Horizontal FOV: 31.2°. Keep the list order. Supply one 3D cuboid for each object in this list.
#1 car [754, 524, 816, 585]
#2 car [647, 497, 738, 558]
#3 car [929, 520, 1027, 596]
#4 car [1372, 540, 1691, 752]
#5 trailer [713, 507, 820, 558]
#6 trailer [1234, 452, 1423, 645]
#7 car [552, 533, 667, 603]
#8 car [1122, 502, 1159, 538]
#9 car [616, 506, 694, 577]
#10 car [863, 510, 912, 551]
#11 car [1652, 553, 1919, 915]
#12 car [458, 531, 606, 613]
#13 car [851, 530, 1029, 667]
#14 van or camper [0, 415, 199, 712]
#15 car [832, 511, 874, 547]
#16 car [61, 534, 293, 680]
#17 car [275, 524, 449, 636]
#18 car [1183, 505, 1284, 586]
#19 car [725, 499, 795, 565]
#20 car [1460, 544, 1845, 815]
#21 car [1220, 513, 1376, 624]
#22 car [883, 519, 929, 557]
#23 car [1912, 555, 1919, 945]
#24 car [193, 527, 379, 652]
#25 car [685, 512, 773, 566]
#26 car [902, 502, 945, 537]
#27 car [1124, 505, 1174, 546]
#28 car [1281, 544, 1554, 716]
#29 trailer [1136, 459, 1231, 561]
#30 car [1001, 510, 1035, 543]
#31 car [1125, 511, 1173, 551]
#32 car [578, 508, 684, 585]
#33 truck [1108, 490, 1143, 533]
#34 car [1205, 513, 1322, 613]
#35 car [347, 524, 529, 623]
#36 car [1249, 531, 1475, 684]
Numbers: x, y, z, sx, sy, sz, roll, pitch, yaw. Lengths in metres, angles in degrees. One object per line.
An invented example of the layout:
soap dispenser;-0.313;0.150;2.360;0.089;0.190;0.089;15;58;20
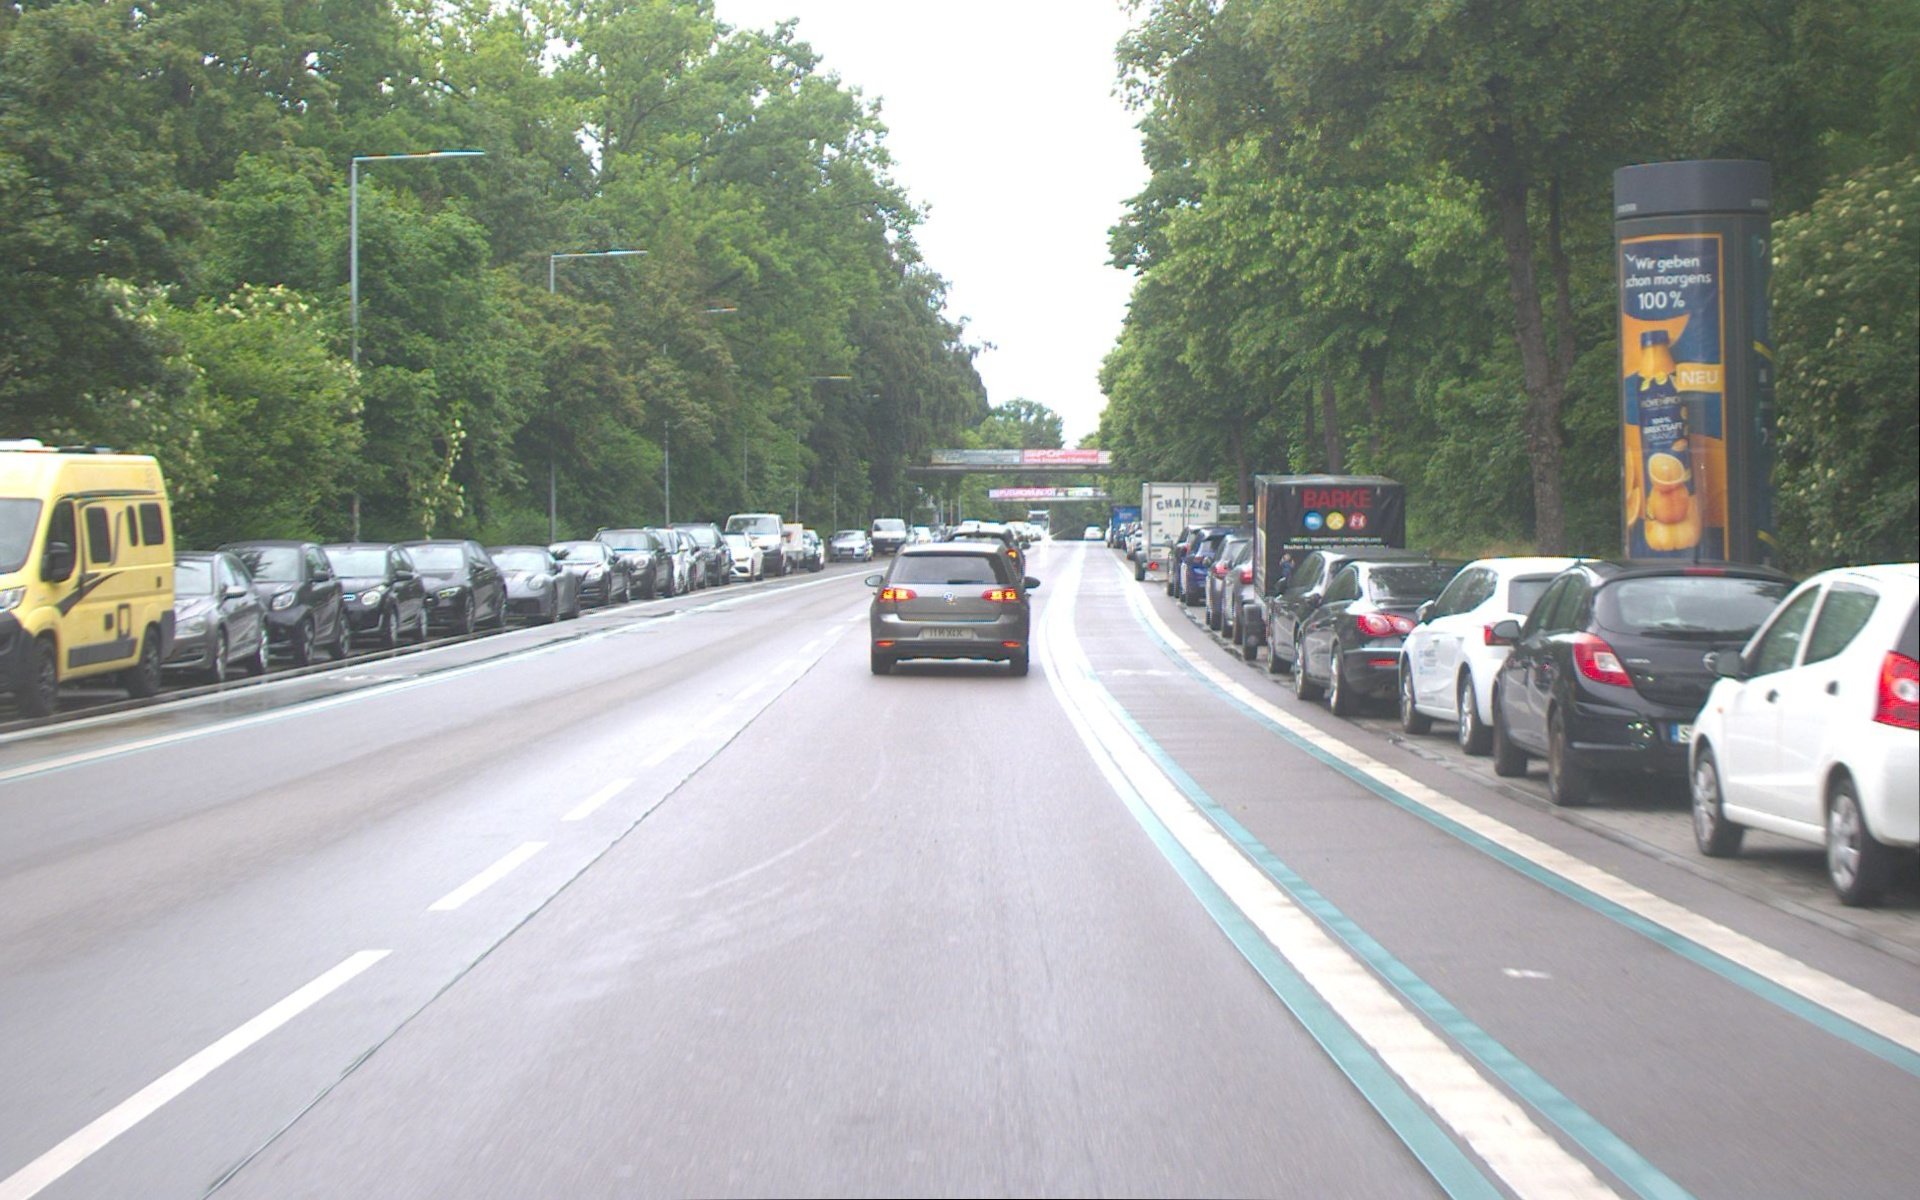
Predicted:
car;-5.985;-1.577;118.203;1.940;2.006;4.740;0;2;-1
car;-7.027;-1.934;90.748;1.879;1.556;4.468;0;2;2
car;0.340;-0.883;70.753;1.880;1.461;4.001;1;2;-1
car;4.312;0.295;26.495;1.617;1.461;4.001;1;1;-2
trailer;-6.336;-2.234;112.942;1.628;1.623;3.666;0;2;33
trailer;4.486;-0.667;42.438;1.906;2.240;4.768;0;2;1
car;-6.992;-0.660;69.001;1.696;1.296;4.192;-1;2;2
car;10.332;-4.580;197.086;1.993;2.007;4.000;0;1;1
car;-6.966;-1.347;78.606;1.461;1.565;2.984;-1;2;1
car;-3.719;-3.604;177.692;2.159;2.006;5.031;-1;2;3
car;4.422;0.533;16.031;1.559;1.455;3.676;0;1;-1
car;-7.294;-0.504;58.980;1.870;1.299;4.470;0;2;1
car;-0.217;-0.026;38.864;1.871;1.436;4.296;1;0;0
van or camper;-9.198;-0.388;33.210;2.144;2.618;5.682;-1;2;3
car;-4.758;-3.157;152.563;1.672;1.508;3.630;0;2;1
car;-8.853;0.035;39.163;1.679;1.493;4.149;-2;2;0
car;-8.546;-0.320;49.385;1.603;1.505;3.976;0;2;3
car;5.232;-1.079;66.121;1.682;1.476;4.319;0;2;1
car;-6.241;-2.152;107.602;1.940;2.006;4.740;0;2;-1
car;4.240;0.420;21.603;1.659;1.460;3.900;2;2;1
car;4.657;-0.474;47.832;1.795;1.445;4.428;-1;2;1
car;-2.900;-3.368;185.824;2.159;2.006;5.031;-1;2;3
car;4.509;0.625;10.528;1.856;1.450;4.751;0;1;0
car;-8.590;-0.164;44.036;1.603;1.505;3.139;0;2;3
car;-6.509;-1.738;97.233;1.994;1.483;4.468;0;2;2
car;-2.129;-4.725;201.877;2.159;2.006;5.031;-1;2;3
car;7.543;-3.007;137.462;1.897;1.601;4.000;0;2;2
car;4.089;0.222;31.389;1.751;1.388;4.446;1;1;-2
trailer;5.746;-2.341;88.963;2.132;2.551;4.298;0;2;0
car;3.589;-4.543;211.683;1.993;2.007;4.000;0;1;0
car;7.804;-2.864;142.076;1.897;1.601;4.000;0;2;2
car;-7.071;-1.174;74.194;1.696;1.578;4.139;-1;2;2
truck;10.218;-5.445;212.116;2.113;2.590;4.301;-1;2;2
car;4.685;-0.605;53.454;1.615;1.465;4.000;1;2;2
car;-8.145;-0.441;53.958;1.994;1.447;4.138;0;2;3
car;4.258;0.037;37.026;1.822;1.480;4.200;1;1;-1
